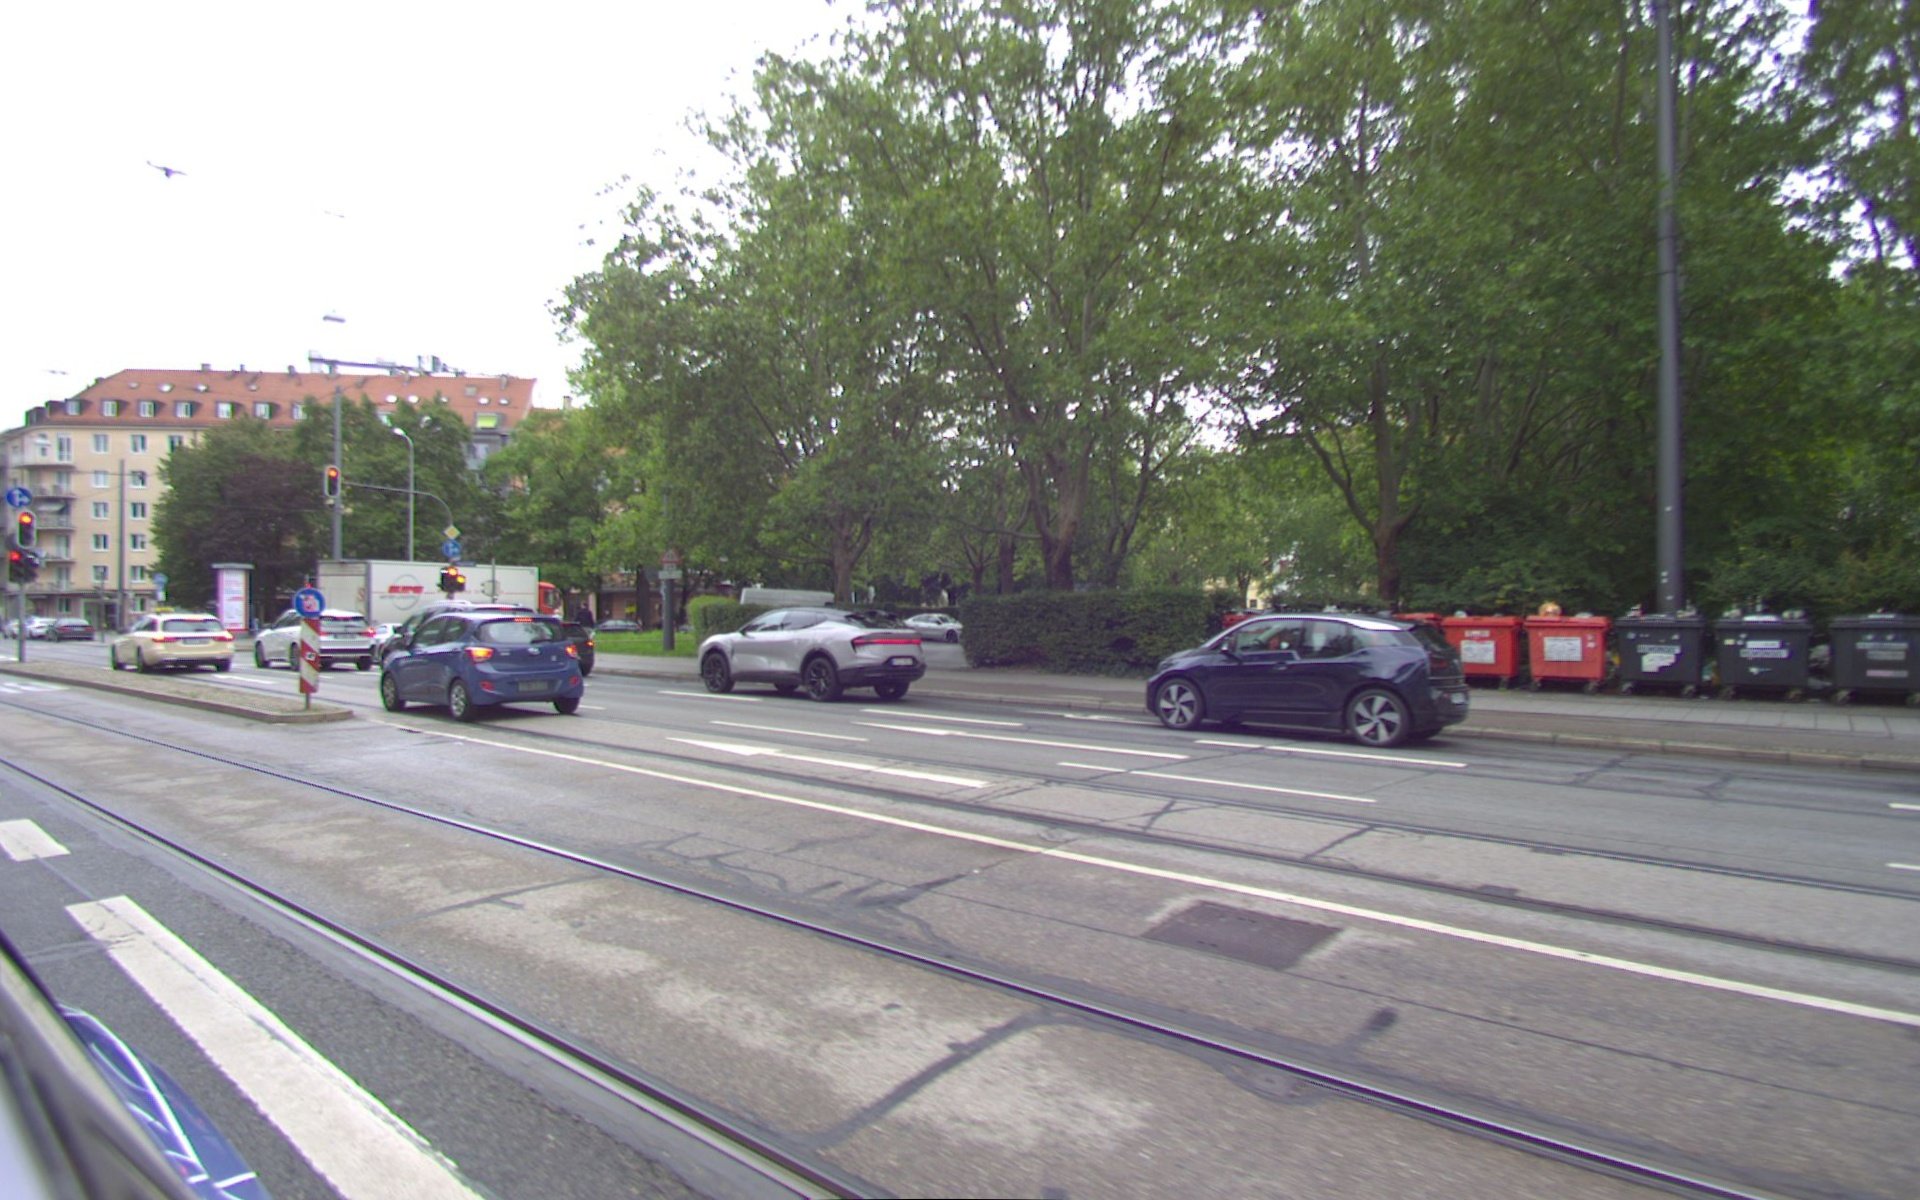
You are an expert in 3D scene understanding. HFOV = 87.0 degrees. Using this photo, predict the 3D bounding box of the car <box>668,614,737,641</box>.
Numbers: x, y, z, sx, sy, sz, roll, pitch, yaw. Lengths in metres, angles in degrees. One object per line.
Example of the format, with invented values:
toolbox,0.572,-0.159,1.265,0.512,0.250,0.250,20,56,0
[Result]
car,-17.955,1.920,70.640,1.934,1.833,4.498,-1,-1,36

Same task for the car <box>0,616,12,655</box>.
car,-39.204,1.397,38.545,1.762,1.536,4.182,-2,-2,19

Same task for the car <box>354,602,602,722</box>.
car,-7.287,0.827,15.109,4.353,1.534,1.780,0,-2,42

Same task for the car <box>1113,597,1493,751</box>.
car,4.320,0.846,13.176,4.353,1.679,1.780,-1,-2,42

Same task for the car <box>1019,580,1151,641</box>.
car,5.600,0.533,46.056,5.865,2.554,1.971,-3,-2,44

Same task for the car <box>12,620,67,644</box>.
car,-57.227,1.953,62.928,4.367,1.418,1.710,-1,-1,36

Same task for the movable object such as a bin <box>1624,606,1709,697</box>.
movable object such as a bin,11.483,0.811,16.450,1.081,1.363,0.926,-1,3,37

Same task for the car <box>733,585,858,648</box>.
car,-6.377,0.675,39.553,4.556,2.029,2.003,5,-3,-8

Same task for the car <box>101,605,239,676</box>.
car,-20.339,0.990,25.972,4.887,1.651,1.804,-1,-1,40

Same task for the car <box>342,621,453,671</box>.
car,-17.487,1.417,31.393,4.101,1.422,1.713,-1,-4,41

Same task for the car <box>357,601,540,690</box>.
car,-10.928,0.899,21.457,4.889,1.696,1.803,-1,-1,42

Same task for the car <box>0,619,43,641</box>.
car,-61.563,1.951,66.060,4.367,1.418,1.710,-1,-1,36

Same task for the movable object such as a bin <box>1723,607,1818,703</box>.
movable object such as a bin,12.435,0.820,15.567,1.081,1.363,0.925,-1,1,37

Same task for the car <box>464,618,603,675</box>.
car,-11.320,1.180,26.748,4.097,1.391,1.803,-1,-1,41

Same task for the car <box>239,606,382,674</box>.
car,-17.699,1.042,27.482,4.886,1.696,1.896,-1,-1,40

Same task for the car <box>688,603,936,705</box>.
car,-2.868,0.924,18.810,4.997,1.655,1.780,-1,-2,42

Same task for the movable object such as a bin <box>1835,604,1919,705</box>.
movable object such as a bin,13.436,0.760,14.591,1.157,1.363,0.925,-1,1,37

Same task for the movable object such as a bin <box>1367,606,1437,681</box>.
movable object such as a bin,8.302,0.795,19.005,1.012,1.363,0.925,-1,0,37

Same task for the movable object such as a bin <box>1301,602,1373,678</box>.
movable object such as a bin,7.428,0.773,19.929,1.081,1.363,0.926,-1,4,37

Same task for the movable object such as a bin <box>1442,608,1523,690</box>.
movable object such as a bin,9.357,0.855,18.131,1.127,1.363,0.925,-1,2,37

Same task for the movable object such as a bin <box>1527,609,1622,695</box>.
movable object such as a bin,10.468,0.856,17.236,1.276,1.363,0.925,-1,1,37

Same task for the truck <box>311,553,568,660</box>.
truck,-22.009,0.425,44.097,2.723,4.011,11.654,0,-2,15
